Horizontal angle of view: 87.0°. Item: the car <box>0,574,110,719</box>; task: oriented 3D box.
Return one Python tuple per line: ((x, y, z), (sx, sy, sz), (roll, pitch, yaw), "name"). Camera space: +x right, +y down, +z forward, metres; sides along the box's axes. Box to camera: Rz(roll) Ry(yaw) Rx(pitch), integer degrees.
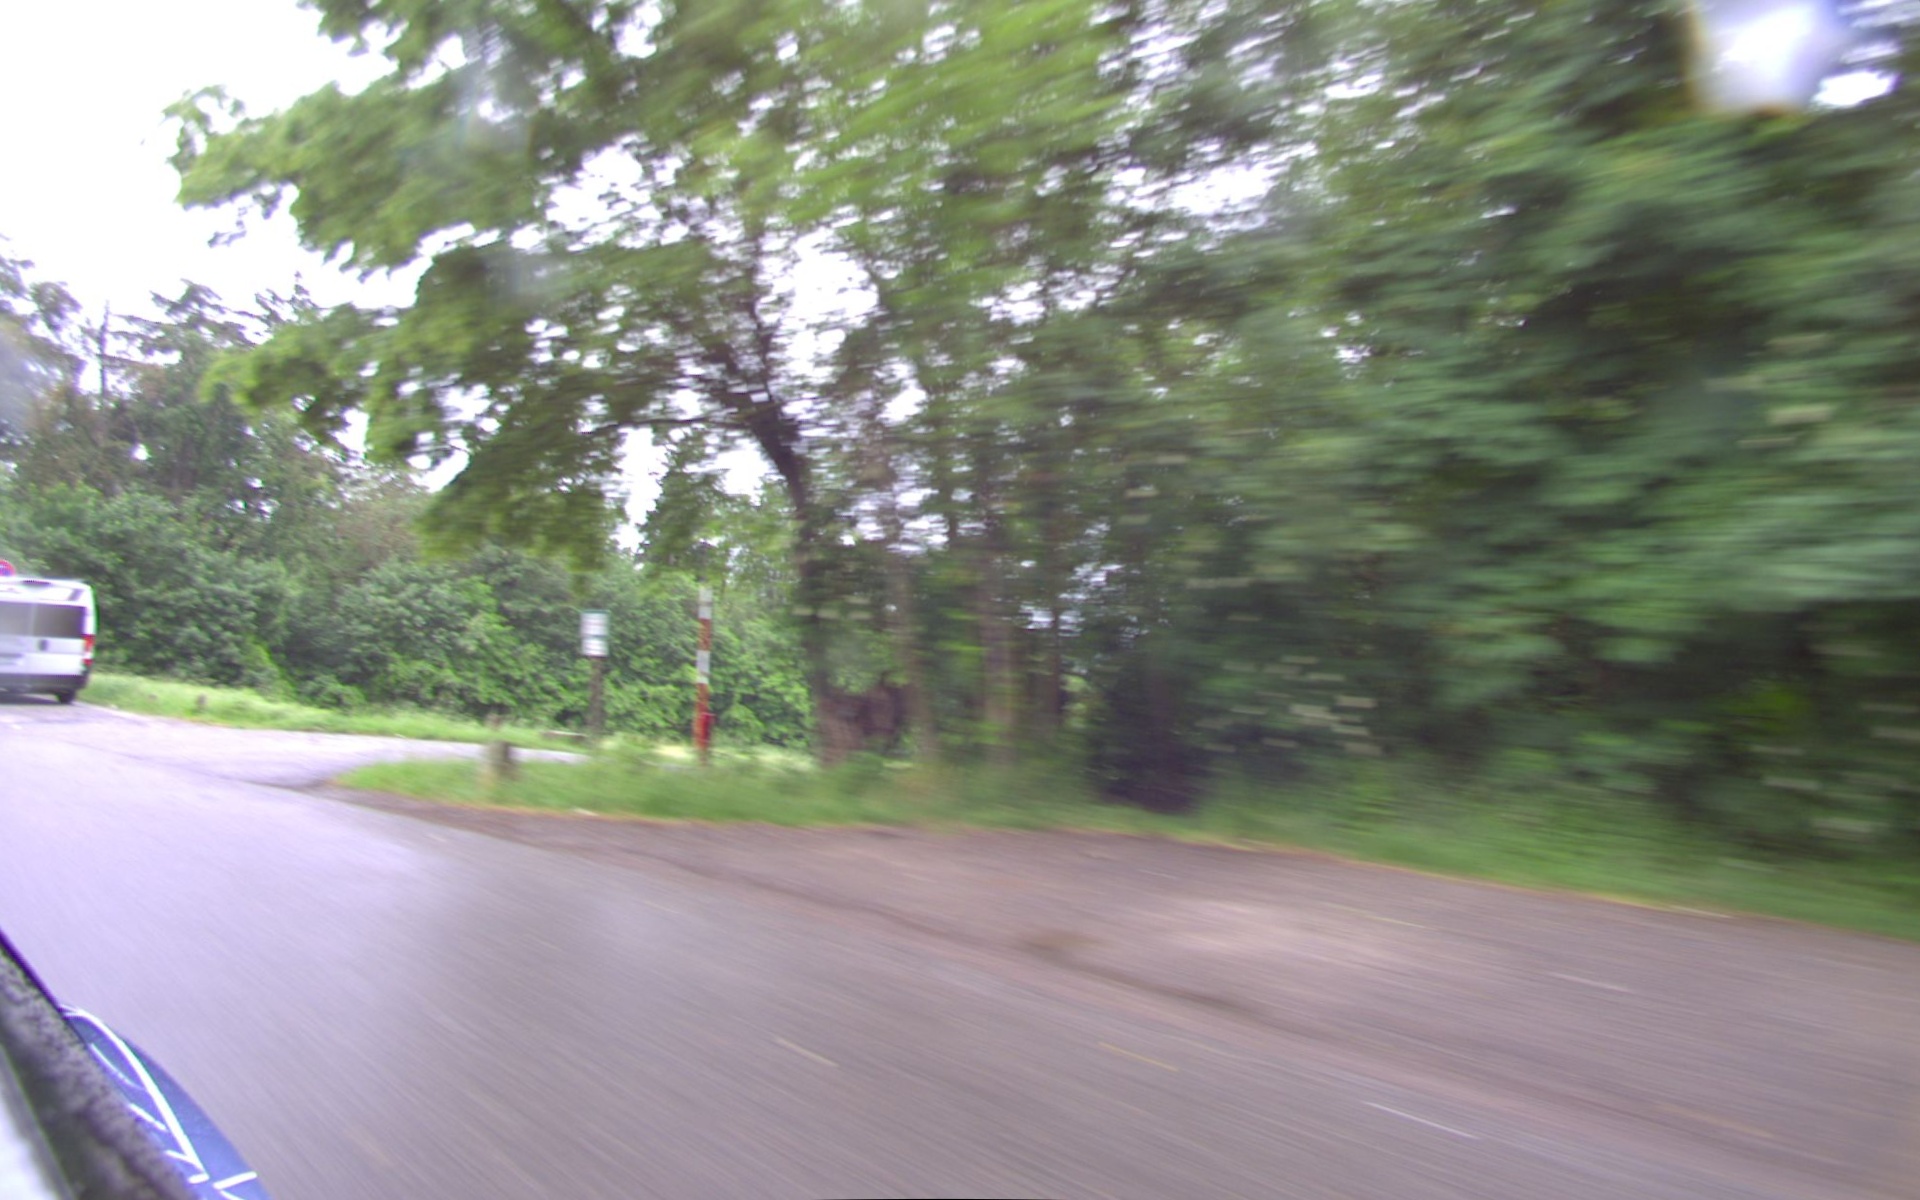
((-20.370, 1.023, 20.981), (6.028, 2.718, 2.255), (-3, -7, 32), "car")
